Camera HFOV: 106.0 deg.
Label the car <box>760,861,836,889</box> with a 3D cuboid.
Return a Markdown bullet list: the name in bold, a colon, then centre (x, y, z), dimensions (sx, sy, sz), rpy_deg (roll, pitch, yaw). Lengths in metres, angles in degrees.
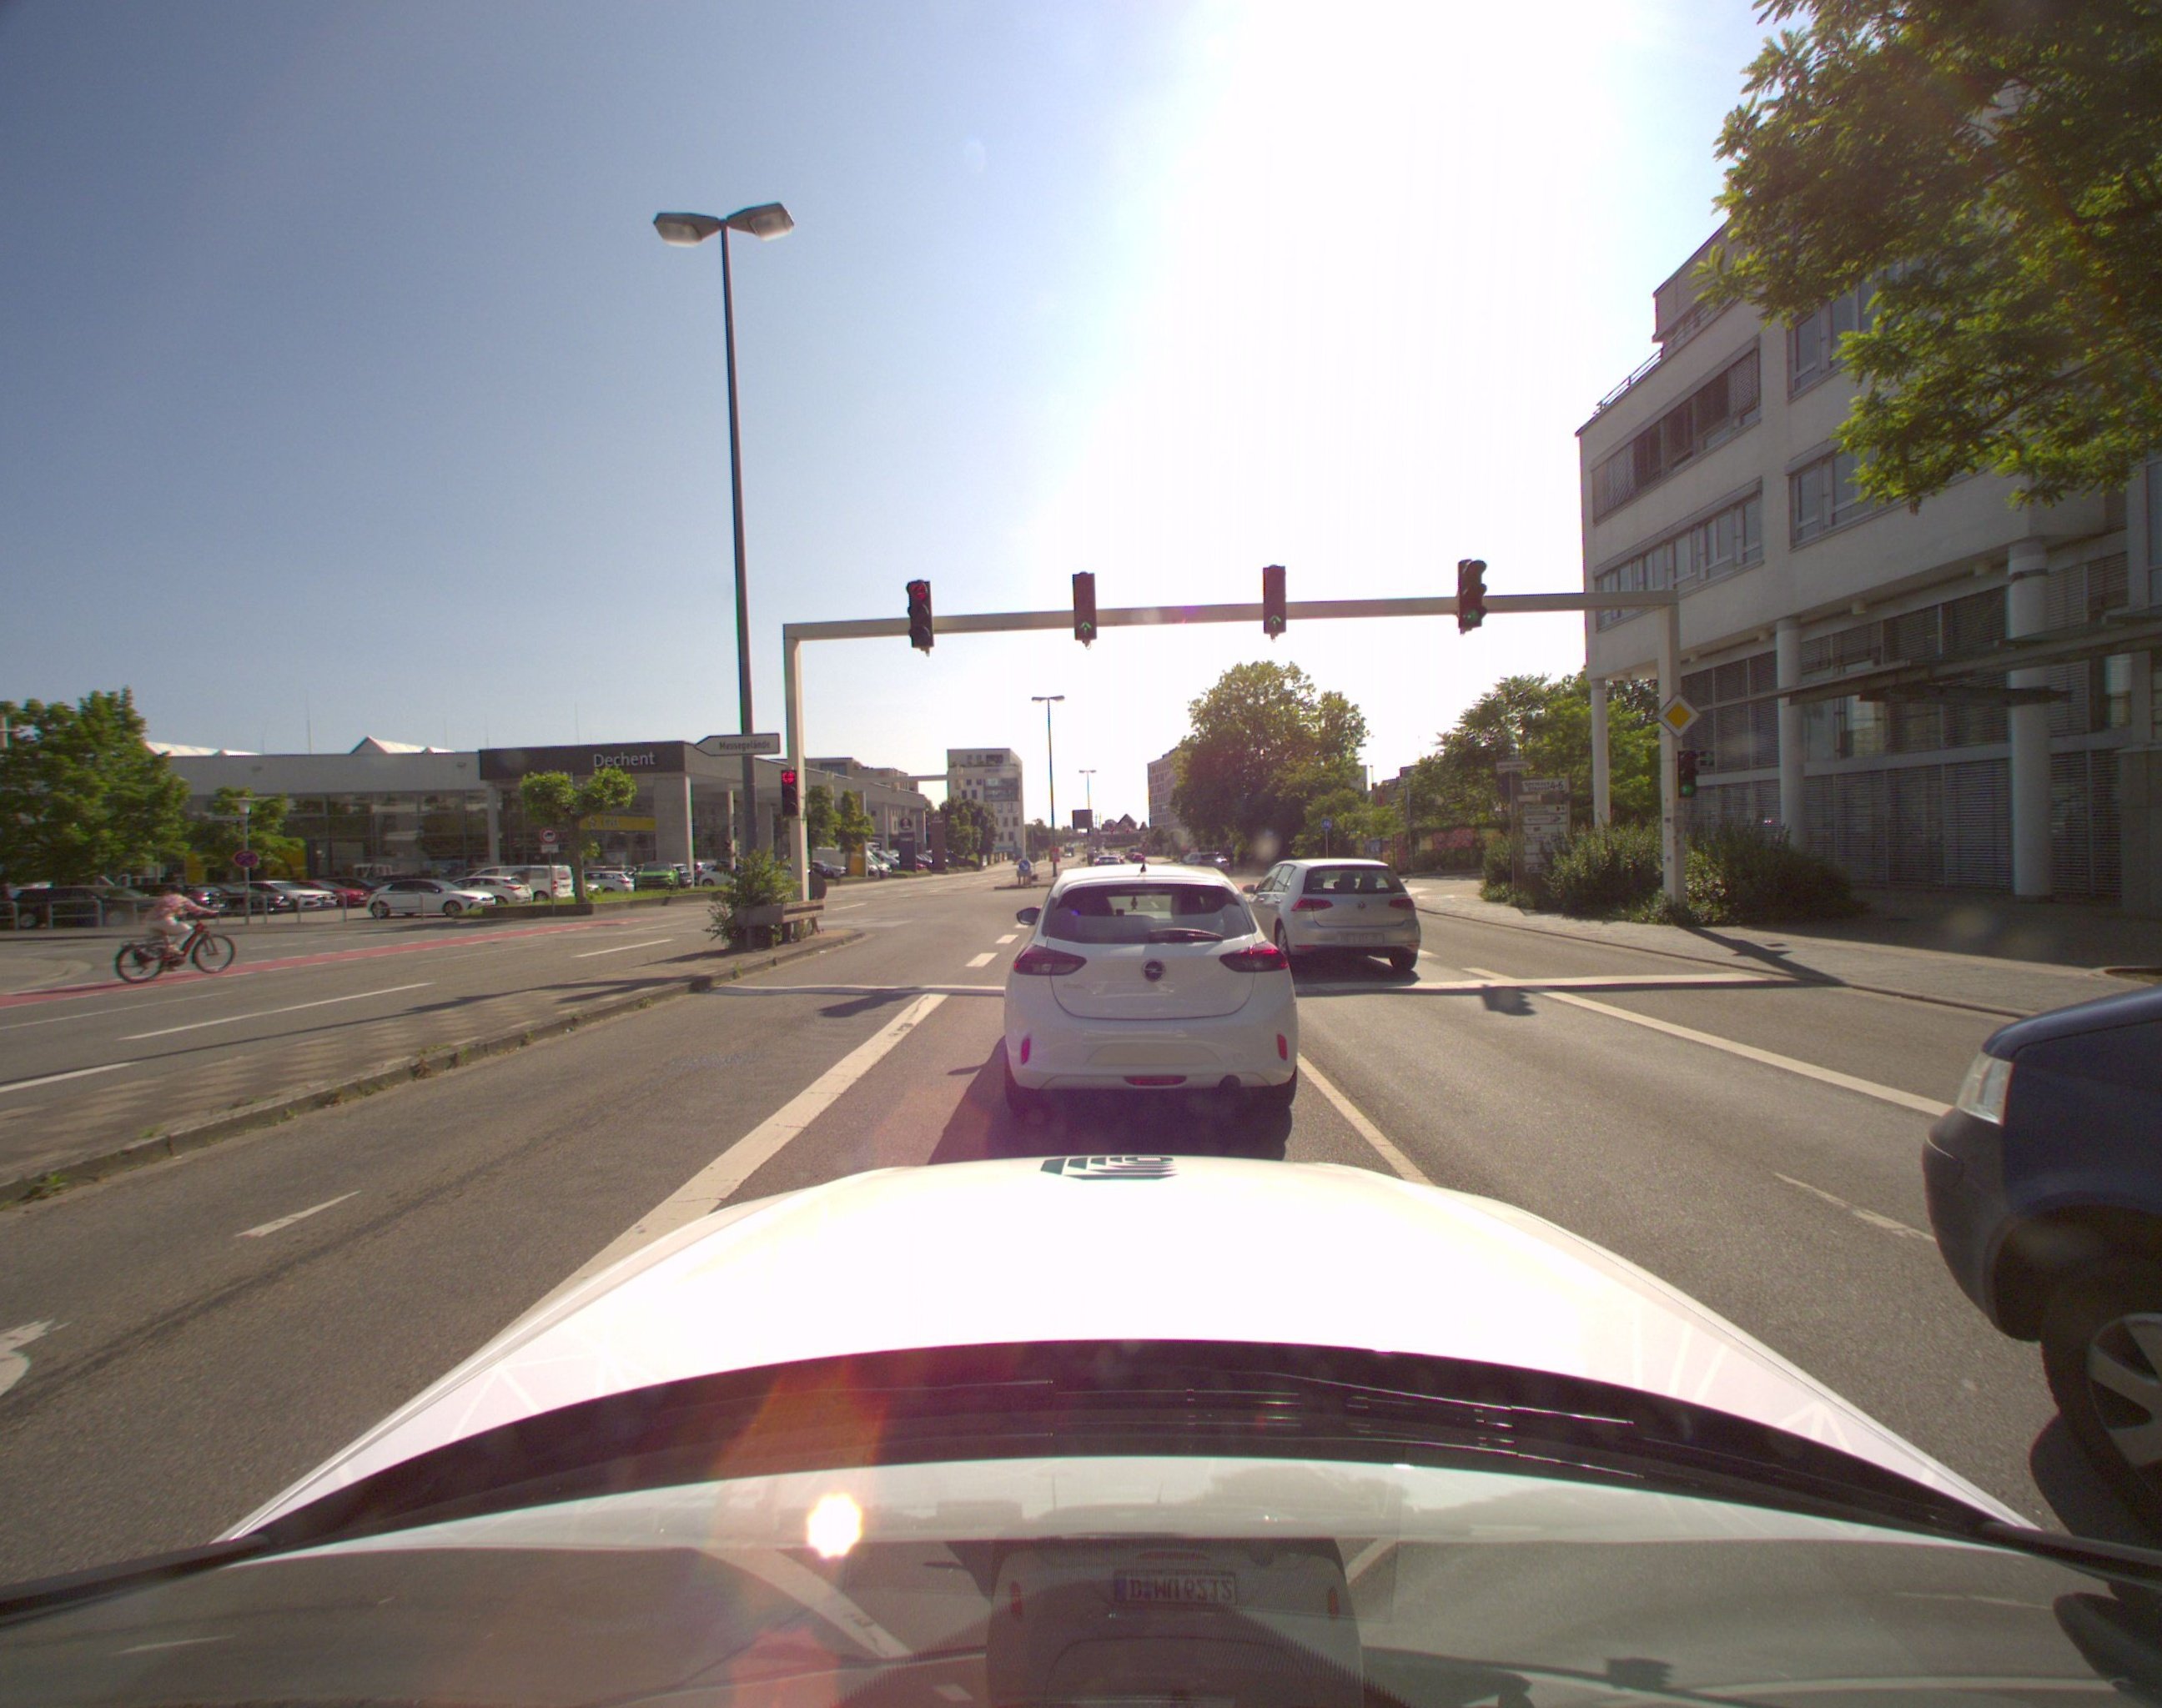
- **car**: centre (-18.890, 1.392, 54.544), dimensions (4.343, 1.696, 1.999), rpy_deg (-2, 0, -1)

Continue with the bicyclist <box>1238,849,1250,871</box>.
- **bicyclist**: centre (12.343, 0.439, 61.654), dimensions (0.687, 1.643, 0.775), rpy_deg (-2, 0, -7)

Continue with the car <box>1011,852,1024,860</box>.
- **car**: centre (-11.043, 0.329, 142.480), dimensions (1.799, 1.386, 4.001), rpy_deg (0, -1, 2)

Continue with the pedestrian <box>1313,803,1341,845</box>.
- **pedestrian**: centre (12.430, -1.507, 41.182), dimensions (1.023, 2.013, 1.039), rpy_deg (-2, 0, 1)

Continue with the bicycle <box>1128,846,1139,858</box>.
- **bicycle**: centre (9.969, -0.314, 155.397), dimensions (1.986, 2.157, 4.001), rpy_deg (-2, 0, 2)

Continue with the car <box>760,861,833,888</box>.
- **car**: centre (-19.801, 1.418, 56.800), dimensions (4.344, 1.696, 1.999), rpy_deg (-2, 0, -1)

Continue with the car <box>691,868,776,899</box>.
- **car**: centre (-19.908, 1.681, 46.769), dimensions (3.981, 1.599, 1.996), rpy_deg (-2, 0, -5)

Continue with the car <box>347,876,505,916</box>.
- **car**: centre (-25.395, 1.602, 31.718), dimensions (4.348, 1.300, 1.997), rpy_deg (-2, 0, -4)

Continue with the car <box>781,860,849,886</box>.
- **car**: centre (-19.568, 1.406, 60.065), dimensions (4.344, 1.696, 1.999), rpy_deg (-2, 0, -1)

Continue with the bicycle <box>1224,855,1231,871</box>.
- **bicycle**: centre (11.186, 0.717, 62.362), dimensions (0.371, 1.216, 1.154), rpy_deg (0, 0, 2)

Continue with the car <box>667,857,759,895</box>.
- **car**: centre (-19.191, 1.121, 42.614), dimensions (3.859, 1.837, 1.999), rpy_deg (-2, 0, -1)

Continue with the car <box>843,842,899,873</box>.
- **car**: centre (-18.964, 0.324, 73.525), dimensions (4.333, 2.601, 2.004), rpy_deg (-2, 0, 6)

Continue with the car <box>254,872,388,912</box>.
- **car**: centre (-36.558, 1.796, 39.287), dimensions (4.352, 1.696, 1.995), rpy_deg (-2, 0, -7)

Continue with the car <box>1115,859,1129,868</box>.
- **car**: centre (6.231, 1.415, 124.269), dimensions (1.987, 1.331, 3.998), rpy_deg (0, -1, -1)

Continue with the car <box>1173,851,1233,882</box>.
- **car**: centre (6.645, 0.651, 44.824), dimensions (1.993, 1.551, 4.420), rpy_deg (-2, 0, -9)

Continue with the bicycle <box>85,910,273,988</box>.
- **bicycle**: centre (-16.141, 1.667, 14.681), dimensions (0.763, 1.116, 2.167), rpy_deg (-2, 0, 9)

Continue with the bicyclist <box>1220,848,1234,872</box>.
- **bicyclist**: centre (11.182, 0.454, 62.361), dimensions (0.875, 1.772, 0.864), rpy_deg (-2, 0, 2)

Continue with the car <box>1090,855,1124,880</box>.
- **car**: centre (1.599, 0.810, 51.161), dimensions (1.987, 1.447, 4.370), rpy_deg (-1, 0, 0)

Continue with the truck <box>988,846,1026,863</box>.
- **truck**: centre (-18.149, 0.111, 198.826), dimensions (9.055, 3.834, 3.073), rpy_deg (-2, 0, -8)

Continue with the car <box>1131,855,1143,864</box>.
- **car**: centre (9.280, 0.954, 135.100), dimensions (1.799, 1.386, 4.001), rpy_deg (0, -1, 2)

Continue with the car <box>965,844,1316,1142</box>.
- **car**: centre (0.369, 0.728, 6.232), dimensions (1.773, 1.494, 4.001), rpy_deg (-2, 0, 2)

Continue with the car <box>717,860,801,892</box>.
- **car**: centre (-19.534, 1.315, 49.552), dimensions (4.284, 1.765, 1.999), rpy_deg (-2, 0, -1)

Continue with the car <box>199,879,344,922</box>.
- **car**: centre (-36.580, 2.076, 36.887), dimensions (4.348, 1.696, 1.997), rpy_deg (-2, 0, -4)

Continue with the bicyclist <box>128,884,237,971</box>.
- **bicyclist**: centre (-16.155, 1.300, 14.667), dimensions (0.763, 1.460, 1.029), rpy_deg (-2, 0, 9)

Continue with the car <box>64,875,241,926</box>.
- **car**: centre (-36.202, 1.782, 31.862), dimensions (4.348, 1.696, 1.997), rpy_deg (-2, 0, -4)

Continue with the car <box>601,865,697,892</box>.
- **car**: centre (-24.627, 1.404, 46.527), dimensions (4.352, 1.268, 1.995), rpy_deg (-3, -2, -6)

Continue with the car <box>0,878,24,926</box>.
- **car**: centre (-40.566, 1.777, 28.213), dimensions (4.371, 1.696, 1.987), rpy_deg (-2, 0, -20)

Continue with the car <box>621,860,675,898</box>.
- **car**: centre (-21.191, 1.243, 39.797), dimensions (1.915, 1.733, 3.258), rpy_deg (-2, -1, -35)

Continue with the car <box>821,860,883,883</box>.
- **car**: centre (-18.454, 1.388, 65.740), dimensions (4.338, 1.696, 2.002), rpy_deg (-2, 0, 3)

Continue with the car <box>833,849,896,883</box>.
- **car**: centre (-18.106, 0.981, 68.146), dimensions (4.469, 2.684, 2.134), rpy_deg (-2, 0, 10)

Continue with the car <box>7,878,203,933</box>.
- **car**: centre (-35.032, 1.826, 29.350), dimensions (4.348, 1.696, 1.997), rpy_deg (-2, 0, -4)

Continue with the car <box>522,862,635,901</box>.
- **car**: centre (-25.120, 1.353, 40.854), dimensions (4.353, 1.696, 1.995), rpy_deg (-2, 0, -7)

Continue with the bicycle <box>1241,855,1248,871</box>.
- **bicycle**: centre (12.367, 0.677, 61.584), dimensions (0.372, 1.147, 1.034), rpy_deg (0, -1, 0)

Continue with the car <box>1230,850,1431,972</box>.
- **car**: centre (3.419, 0.717, 11.968), dimensions (1.800, 1.429, 4.001), rpy_deg (-2, -1, 2)

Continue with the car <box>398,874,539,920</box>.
- **car**: centre (-26.129, 1.795, 34.876), dimensions (4.348, 1.696, 1.997), rpy_deg (-2, 0, -4)

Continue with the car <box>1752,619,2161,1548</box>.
- **car**: centre (3.198, 0.446, 0.257), dimensions (1.986, 1.948, 4.893), rpy_deg (-2, -1, 2)

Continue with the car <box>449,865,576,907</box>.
- **car**: centre (-26.436, 1.461, 38.022), dimensions (4.353, 1.696, 1.995), rpy_deg (-2, 0, -7)

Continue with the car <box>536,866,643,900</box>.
- **car**: centre (-26.137, 1.523, 43.430), dimensions (4.351, 1.591, 1.996), rpy_deg (-2, 0, -7)

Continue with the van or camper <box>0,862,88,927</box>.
- **van or camper**: centre (-41.903, 1.583, 31.224), dimensions (4.711, 2.400, 1.995), rpy_deg (-2, 0, -8)

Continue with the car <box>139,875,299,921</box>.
- **car**: centre (-36.019, 1.811, 34.138), dimensions (4.348, 1.696, 1.997), rpy_deg (-2, 0, -4)
